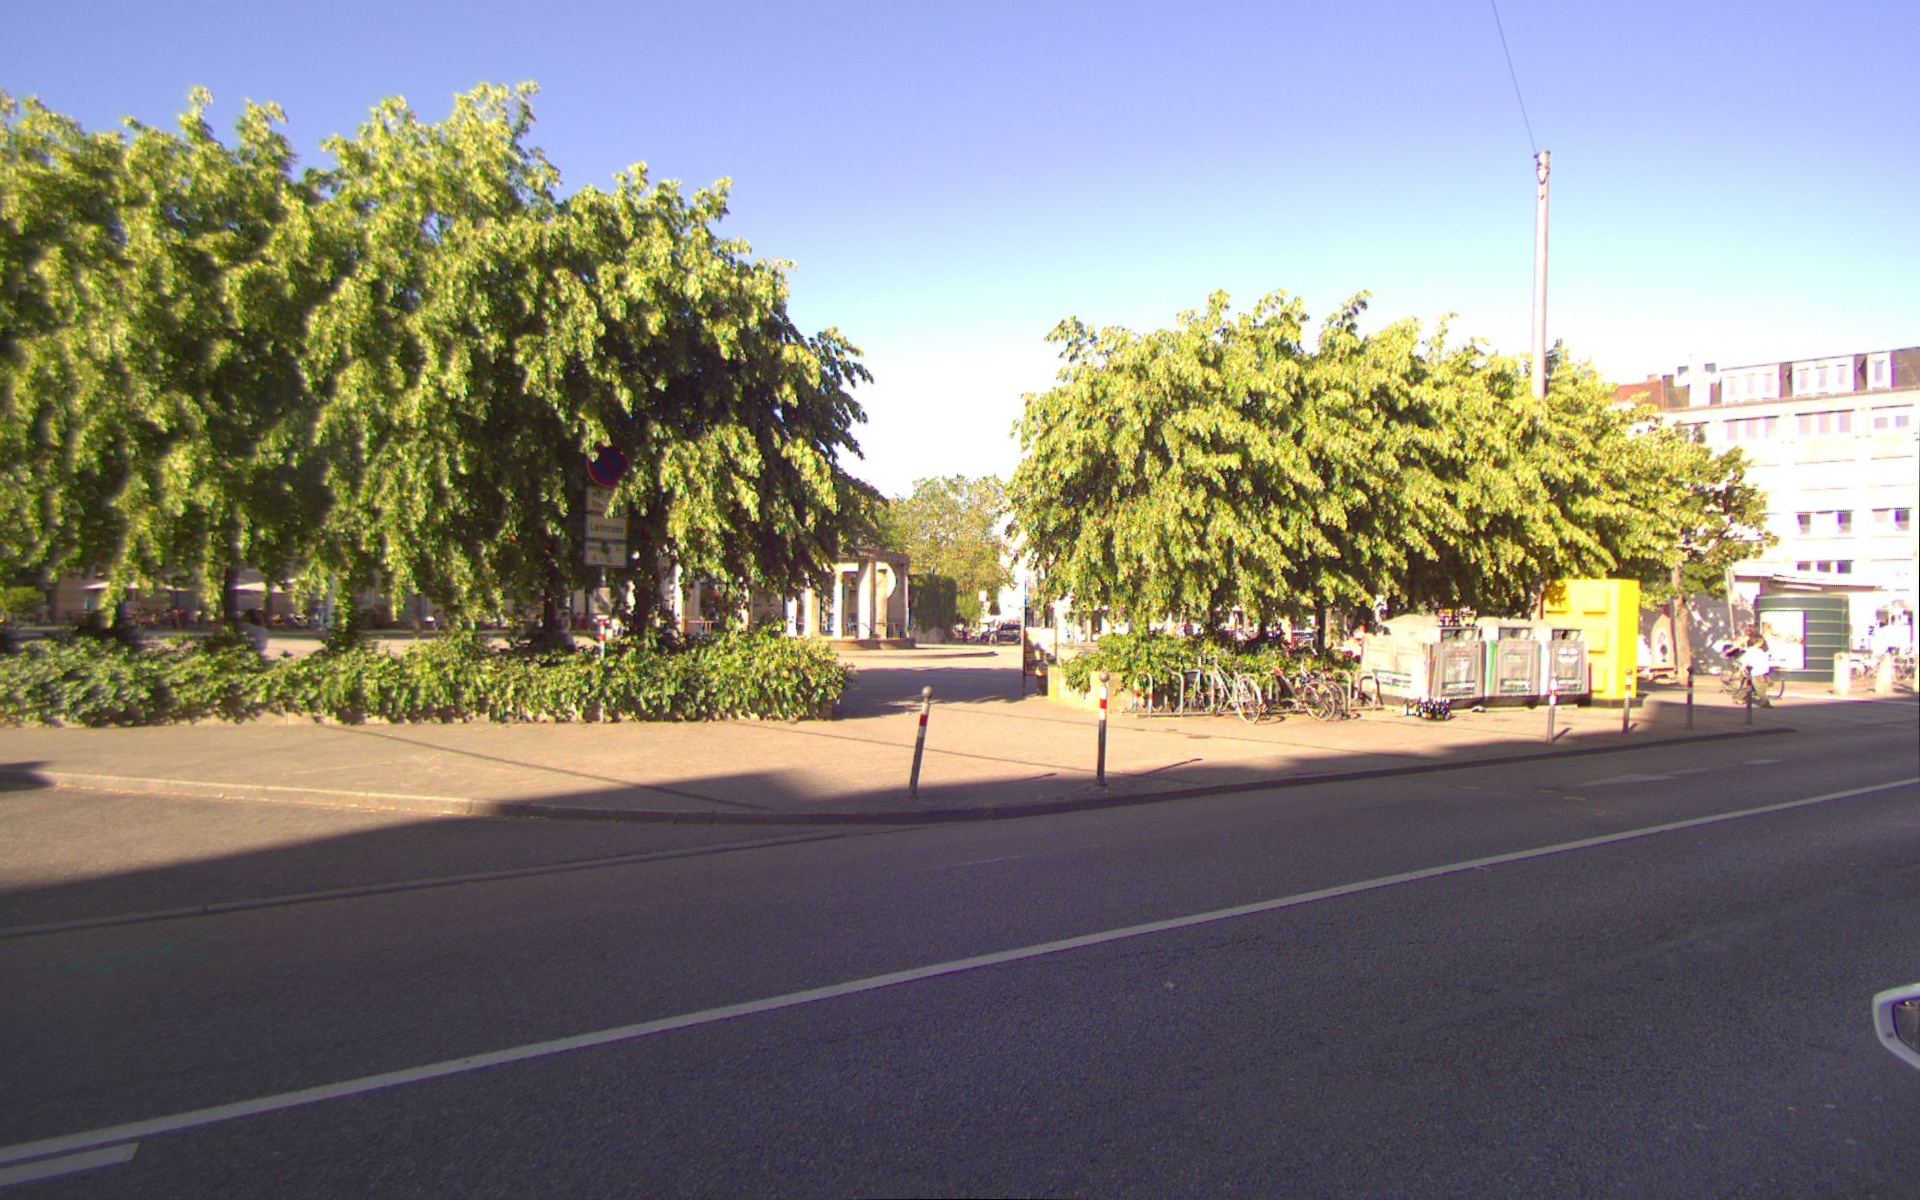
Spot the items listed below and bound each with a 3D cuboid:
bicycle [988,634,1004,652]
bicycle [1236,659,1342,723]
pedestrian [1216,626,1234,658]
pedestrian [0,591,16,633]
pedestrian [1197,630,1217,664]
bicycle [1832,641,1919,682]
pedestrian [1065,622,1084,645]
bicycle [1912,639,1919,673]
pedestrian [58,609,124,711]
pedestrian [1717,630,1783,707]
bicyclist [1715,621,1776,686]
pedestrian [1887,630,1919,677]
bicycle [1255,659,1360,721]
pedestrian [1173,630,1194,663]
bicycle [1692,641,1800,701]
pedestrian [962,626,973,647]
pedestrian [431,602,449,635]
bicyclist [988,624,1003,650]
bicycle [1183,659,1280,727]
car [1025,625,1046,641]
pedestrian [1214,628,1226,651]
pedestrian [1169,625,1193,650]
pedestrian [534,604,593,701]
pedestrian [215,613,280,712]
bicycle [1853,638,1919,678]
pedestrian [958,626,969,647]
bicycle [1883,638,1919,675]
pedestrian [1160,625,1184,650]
[{"bbox_3d":[2.433,2.905,68.066,0.593,1.116,1.990,2,0,15],"label":"bicycle"},{"bbox_3d":[5.269,1.443,16.183,0.465,0.870,1.659,2,0,-35],"label":"bicycle"},{"bbox_3d":[12.617,2.001,47.851,0.598,1.528,0.557,2,0,-15],"label":"pedestrian"},{"bbox_3d":[-36.709,0.451,38.339,0.680,1.550,0.684,2,0,1],"label":"pedestrian"},{"bbox_3d":[11.781,2.228,47.874,0.761,1.541,0.838,2,0,6],"label":"pedestrian"},{"bbox_3d":[31.194,2.063,33.797,0.932,1.211,2.645,2,0,-32],"label":"bicycle"},{"bbox_3d":[9.627,2.815,84.445,1.277,1.867,1.100,2,0,28],"label":"pedestrian"},{"bbox_3d":[37.242,2.156,37.272,0.932,1.276,2.648,2,0,-32],"label":"bicycle"},{"bbox_3d":[-12.864,0.871,14.883,0.615,1.456,0.647,2,0,-32],"label":"pedestrian"},{"bbox_3d":[16.886,1.444,21.470,0.688,1.564,0.915,2,0,-35],"label":"pedestrian"},{"bbox_3d":[18.864,1.285,24.141,0.598,1.504,0.954,2,0,-18],"label":"bicyclist"},{"bbox_3d":[34.332,1.926,35.990,1.243,1.633,1.095,2,0,-8],"label":"pedestrian"},{"bbox_3d":[5.668,1.454,16.478,0.465,0.870,1.654,2,0,-35],"label":"bicycle"},{"bbox_3d":[10.859,2.239,48.873,0.904,1.541,0.936,2,0,15],"label":"pedestrian"},{"bbox_3d":[18.840,1.670,24.128,0.620,1.239,1.992,3,1,-18],"label":"bicycle"},{"bbox_3d":[0.587,2.796,76.791,0.615,1.544,0.578,2,0,29],"label":"pedestrian"},{"bbox_3d":[-24.503,0.873,47.322,0.731,1.550,0.689,2,0,-28],"label":"pedestrian"},{"bbox_3d":[2.392,2.502,67.810,0.773,1.722,0.896,2,0,16],"label":"bicyclist"},{"bbox_3d":[4.169,1.411,15.524,0.464,0.897,1.558,2,0,-29],"label":"bicycle"},{"bbox_3d":[7.453,3.238,98.922,1.521,1.550,4.132,1,-1,-3],"label":"car"},{"bbox_3d":[17.348,2.628,66.945,0.614,1.544,0.579,2,0,25],"label":"pedestrian"},{"bbox_3d":[11.481,1.950,52.125,0.885,1.230,0.864,2,0,-15],"label":"pedestrian"},{"bbox_3d":[-6.513,0.848,16.486,0.688,1.541,0.676,2,0,-41],"label":"pedestrian"},{"bbox_3d":[-10.856,0.934,15.300,0.581,1.456,0.615,2,0,33],"label":"pedestrian"},{"bbox_3d":[33.139,2.040,35.062,0.923,1.291,2.764,2,0,-32],"label":"bicycle"},{"bbox_3d":[0.291,2.790,76.288,0.615,1.544,0.578,2,0,31],"label":"pedestrian"},{"bbox_3d":[35.258,2.085,36.128,0.932,1.287,2.859,2,0,-32],"label":"bicycle"},{"bbox_3d":[10.862,1.933,51.570,0.855,1.230,0.933,2,0,-15],"label":"pedestrian"}]
